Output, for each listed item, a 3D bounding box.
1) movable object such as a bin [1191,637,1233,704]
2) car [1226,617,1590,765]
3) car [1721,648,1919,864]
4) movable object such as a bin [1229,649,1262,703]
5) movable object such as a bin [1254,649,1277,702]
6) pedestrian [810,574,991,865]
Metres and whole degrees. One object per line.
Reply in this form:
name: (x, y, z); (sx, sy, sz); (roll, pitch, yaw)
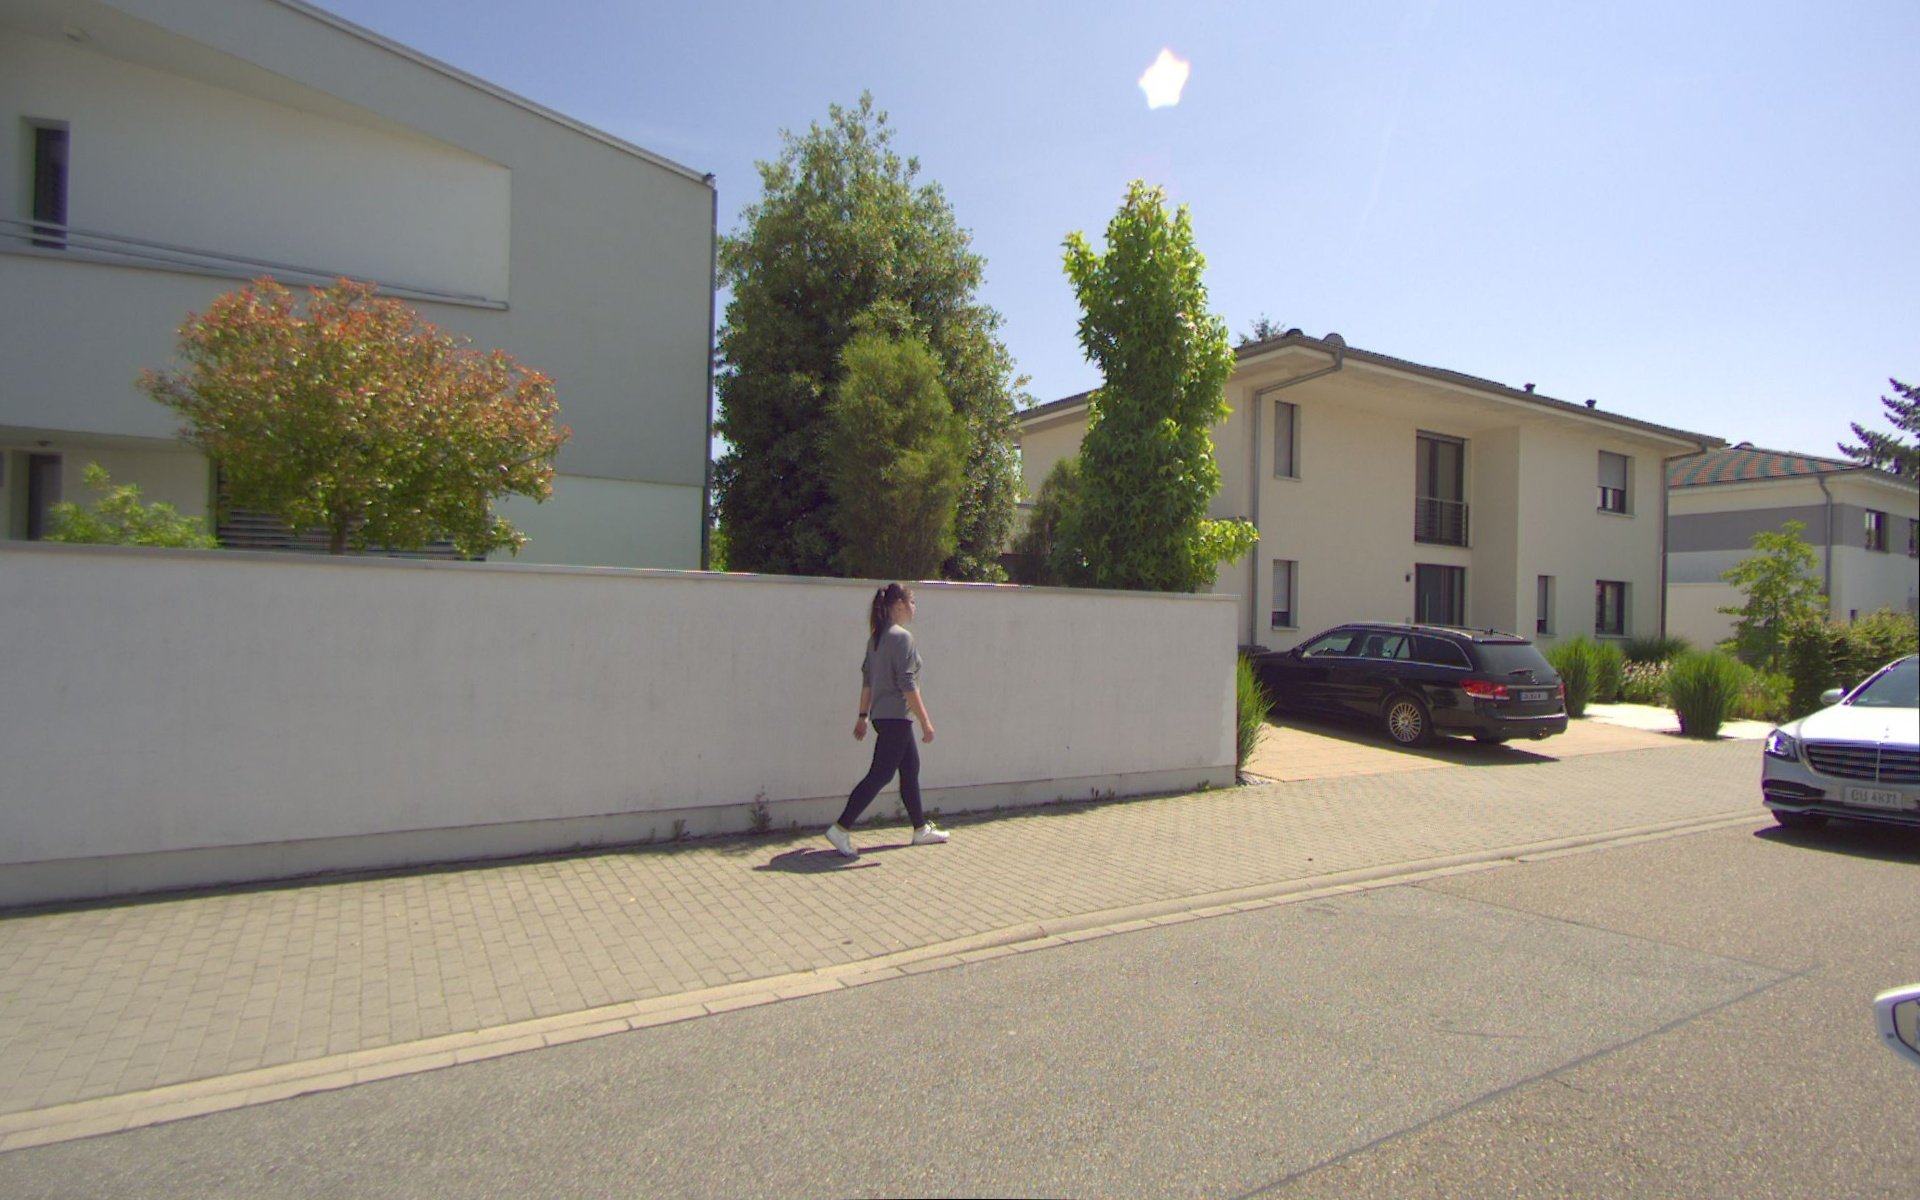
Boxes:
movable object such as a bin: (4.212, 1.166, 16.785); (0.584, 1.088, 0.381); (1, -1, -37)
car: (5.908, 1.095, 13.880); (1.827, 1.493, 4.412); (2, 1, -27)
car: (8.598, 1.170, 8.353); (4.641, 1.497, 1.846); (2, -3, -28)
movable object such as a bin: (4.867, 1.296, 17.139); (0.472, 0.895, 0.308); (1, -1, -37)
movable object such as a bin: (5.300, 1.308, 17.414); (0.391, 0.895, 0.182); (1, -1, -37)
pedestrian: (-0.401, 0.745, 6.666); (0.949, 1.770, 0.711); (2, -1, -30)
